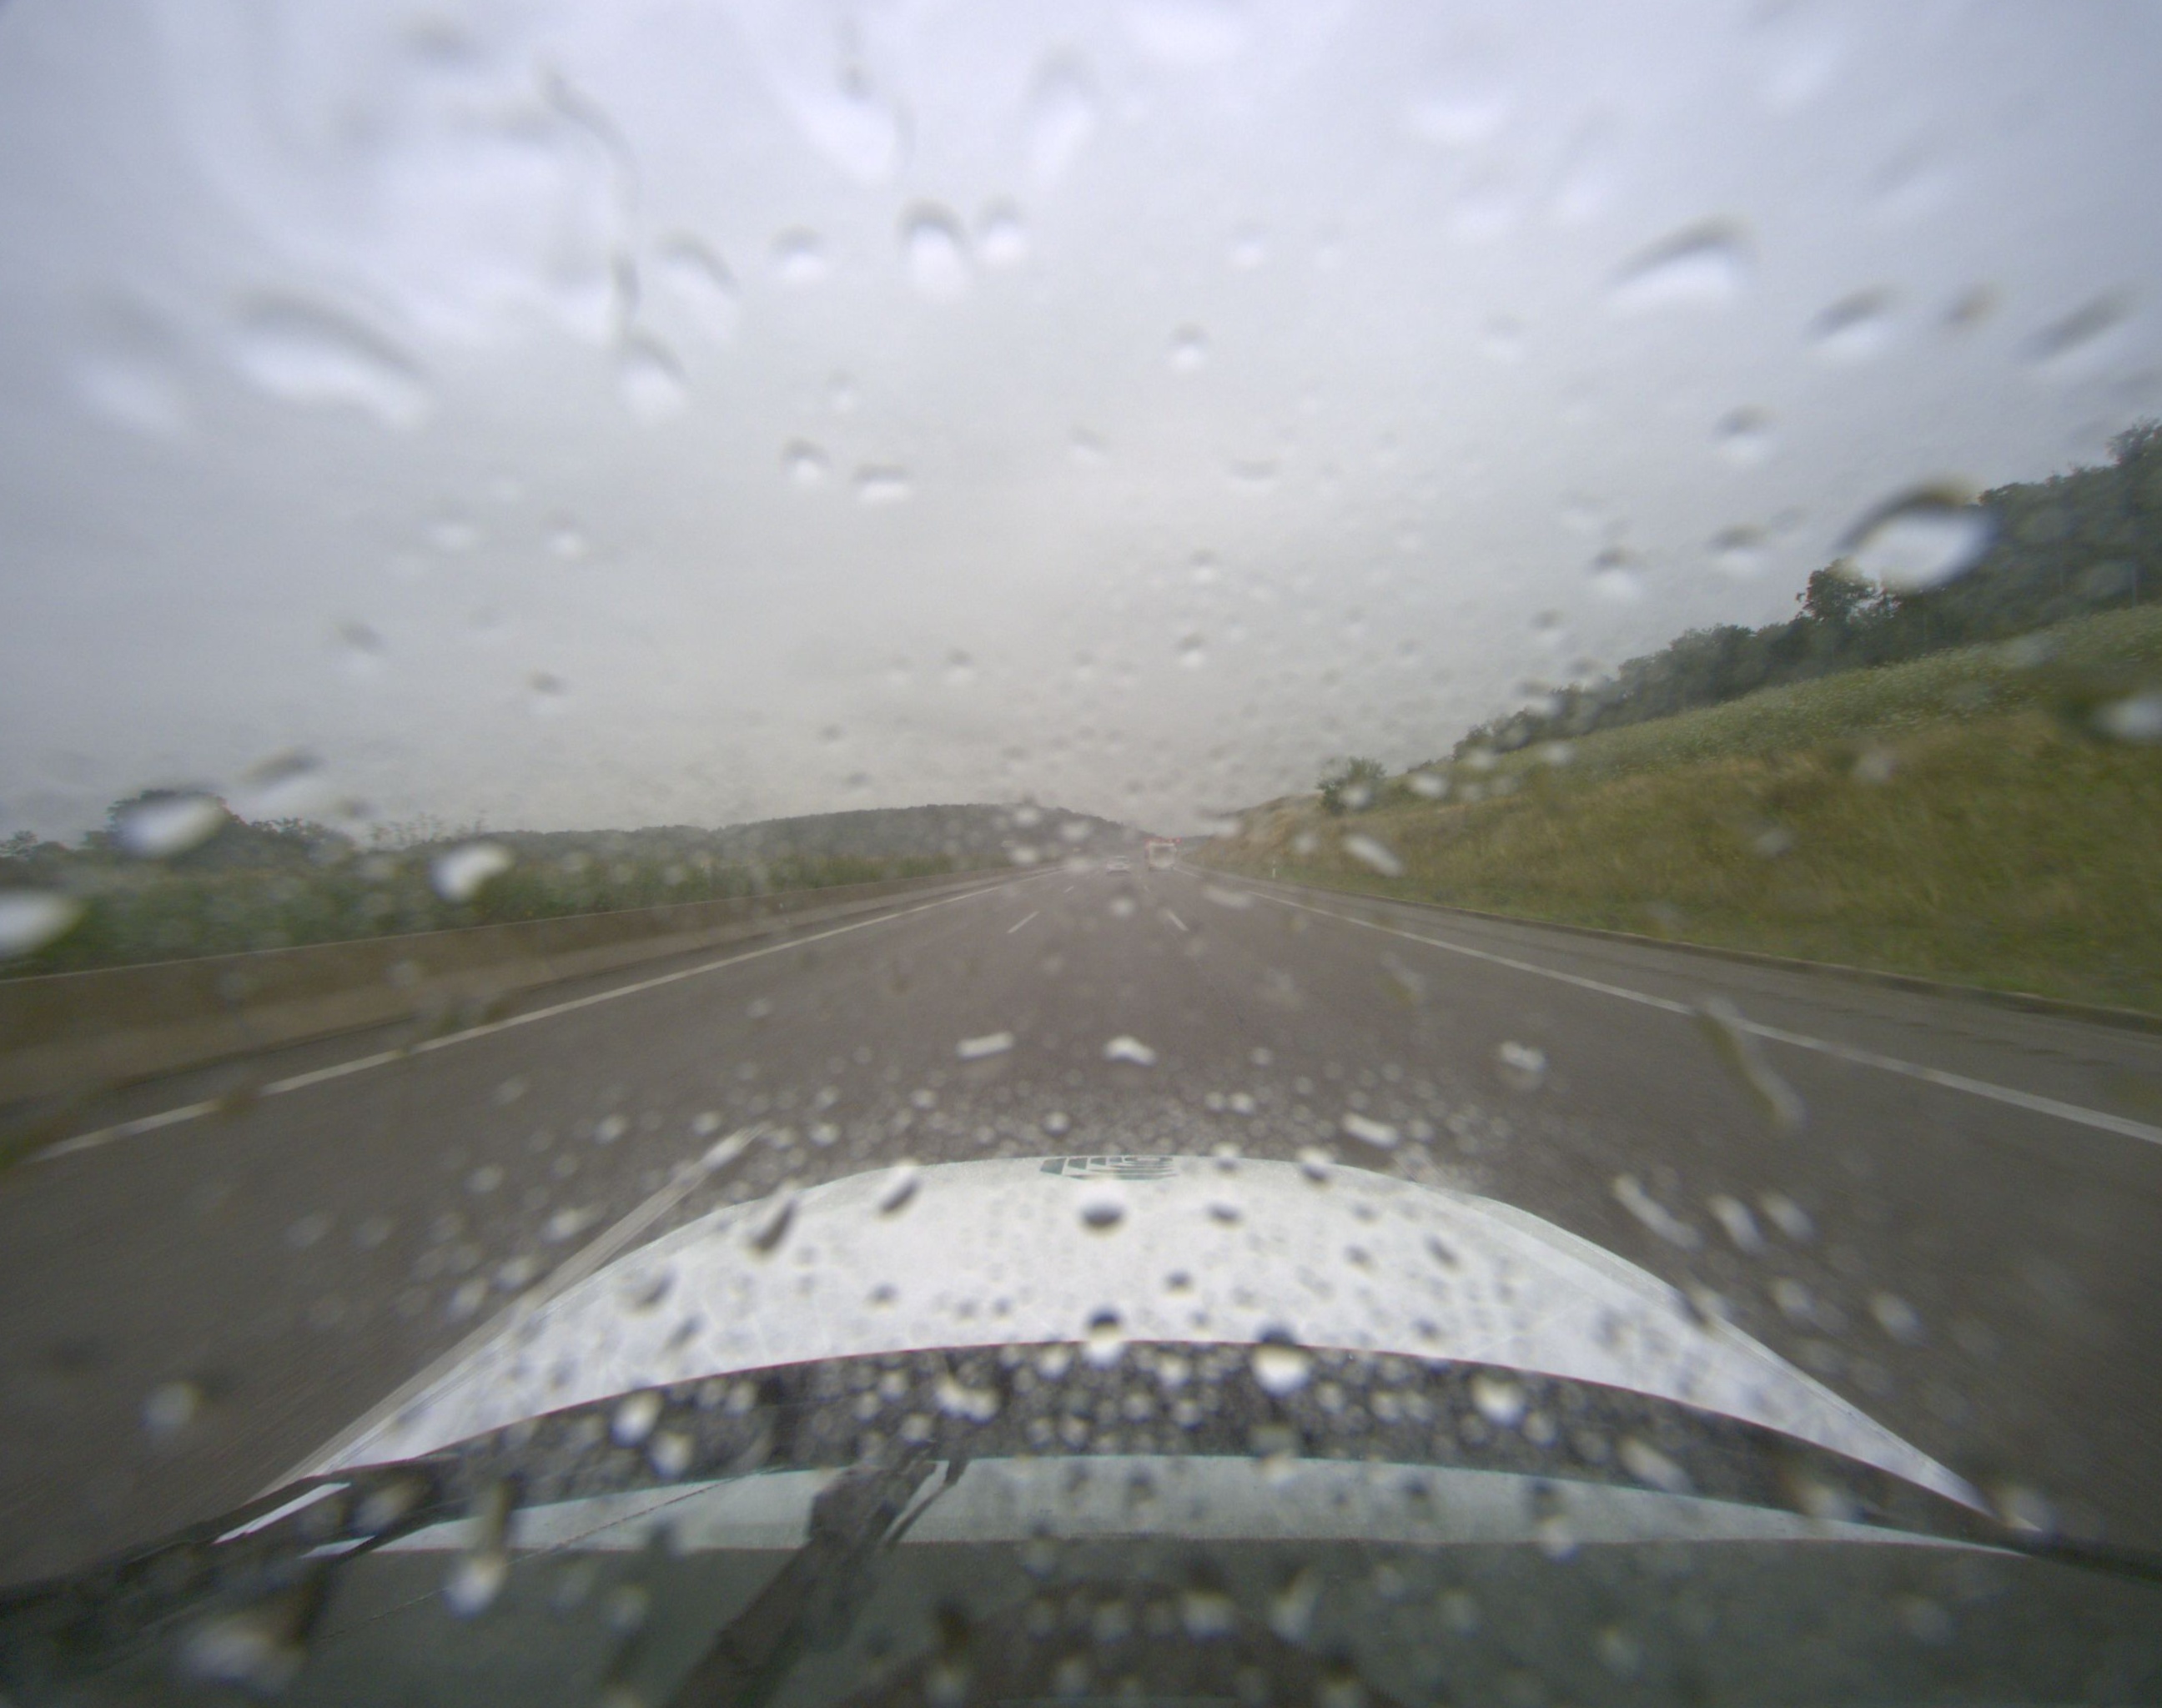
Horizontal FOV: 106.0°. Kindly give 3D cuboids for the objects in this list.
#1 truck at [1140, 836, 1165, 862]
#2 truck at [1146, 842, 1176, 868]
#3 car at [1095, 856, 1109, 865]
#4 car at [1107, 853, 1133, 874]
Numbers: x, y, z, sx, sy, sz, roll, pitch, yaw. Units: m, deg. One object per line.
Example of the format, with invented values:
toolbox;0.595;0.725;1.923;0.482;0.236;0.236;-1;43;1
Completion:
truck;10.710;-0.817;122.161;3.511;3.742;11.441;0;1;5
truck;7.215;0.089;73.687;2.399;2.252;4.695;-1;0;2
car;3.057;0.981;118.845;1.818;1.156;4.210;0;-1;-1
car;2.905;0.725;61.186;1.860;1.463;4.002;-1;-1;2
